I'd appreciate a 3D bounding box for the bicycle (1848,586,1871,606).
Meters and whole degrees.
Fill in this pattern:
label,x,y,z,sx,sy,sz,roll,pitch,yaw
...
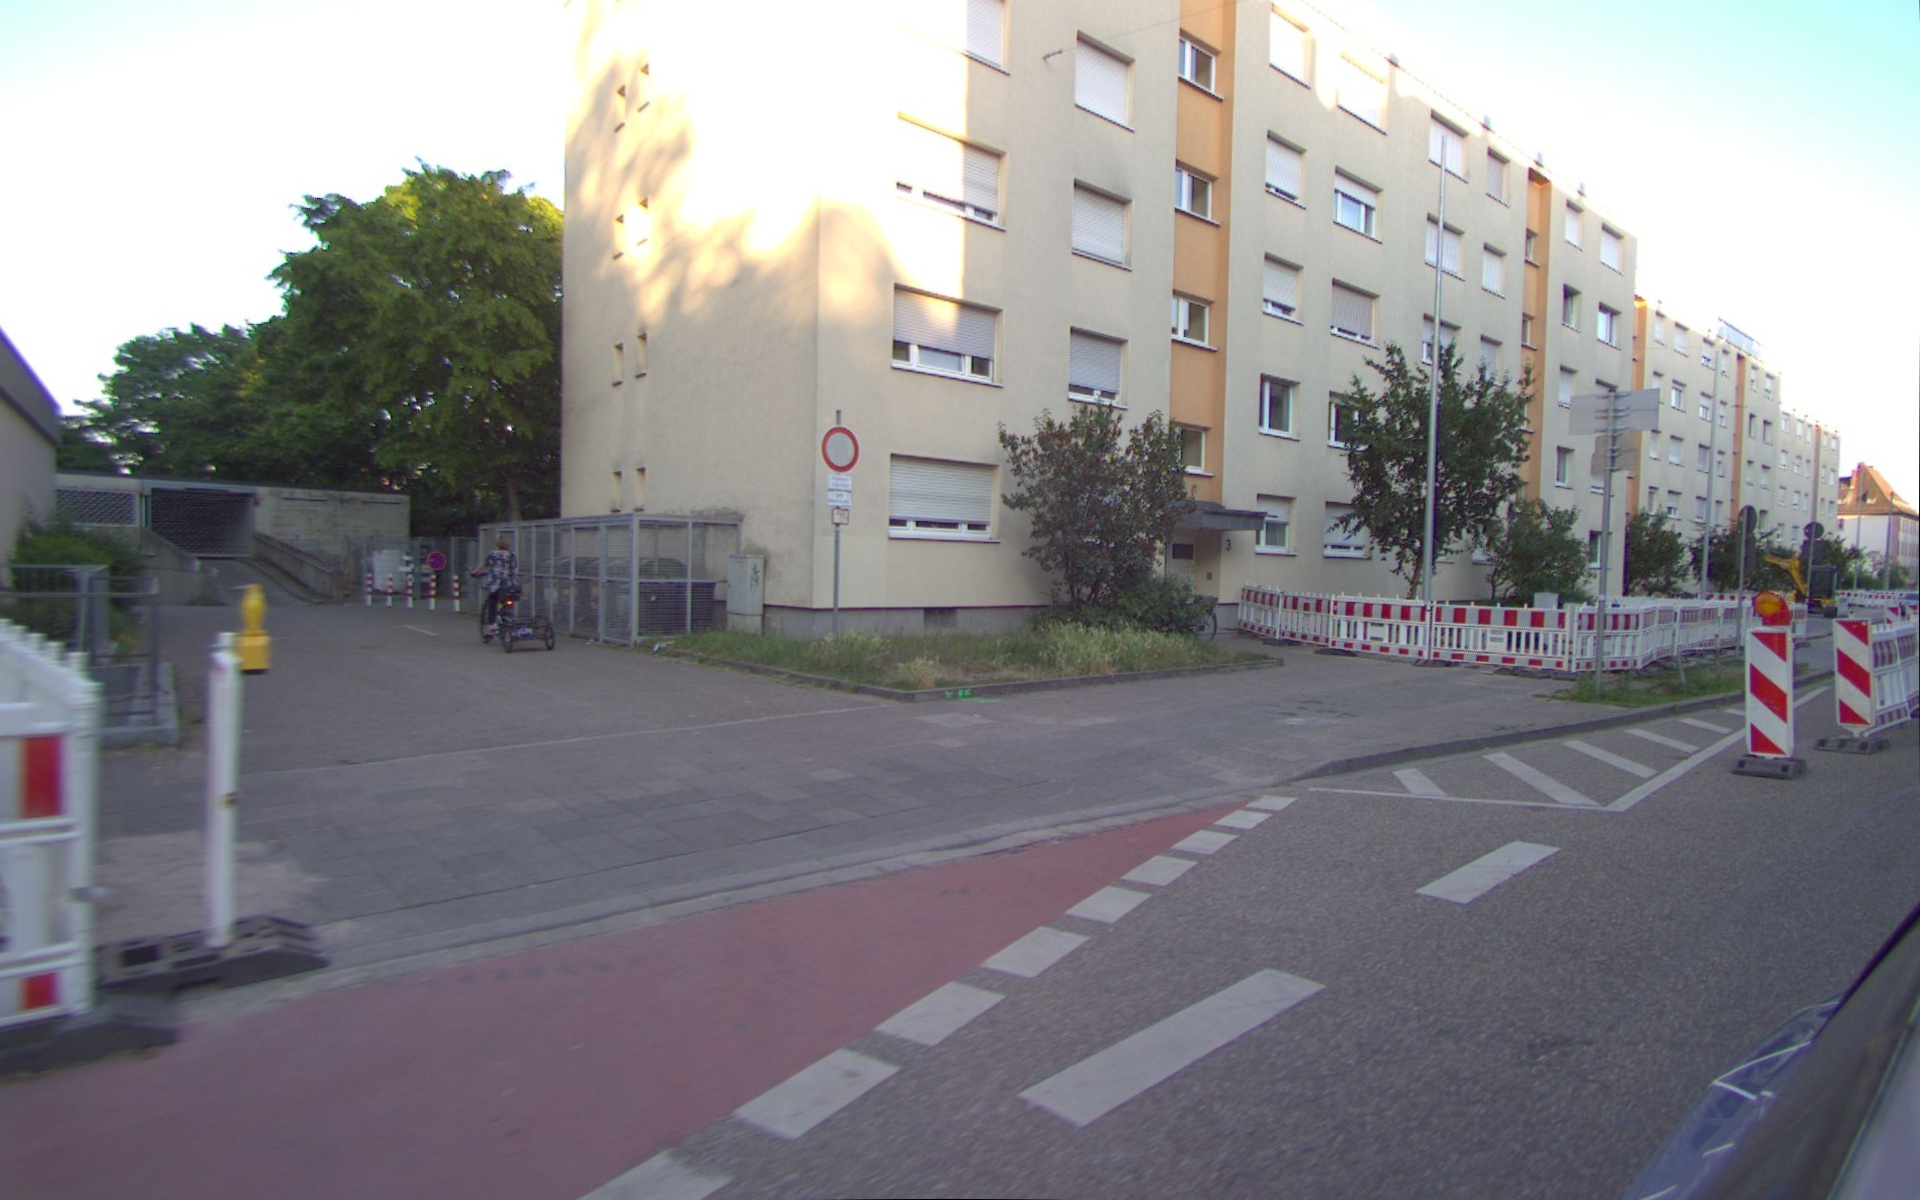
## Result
label,x,y,z,sx,sy,sz,roll,pitch,yaw
bicycle,54.181,-0.259,60.967,0.552,1.186,1.800,1,2,27

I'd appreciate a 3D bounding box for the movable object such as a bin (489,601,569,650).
label,x,y,z,sx,sy,sz,roll,pitch,yaw
movable object such as a bin,-6.762,0.385,15.869,0.925,0.697,0.992,-1,1,-39

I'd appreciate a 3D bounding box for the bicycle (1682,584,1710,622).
label,x,y,z,sx,sy,sz,roll,pitch,yaw
bicycle,24.548,0.092,33.751,0.452,1.237,1.880,2,2,44

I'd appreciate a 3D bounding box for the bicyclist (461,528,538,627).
label,x,y,z,sx,sy,sz,roll,pitch,yaw
bicyclist,-7.819,-0.384,17.171,0.925,1.601,1.145,-1,1,-39

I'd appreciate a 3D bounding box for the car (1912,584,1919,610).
label,x,y,z,sx,sy,sz,roll,pitch,yaw
car,59.463,-0.145,61.579,4.495,1.508,1.780,-1,6,-42

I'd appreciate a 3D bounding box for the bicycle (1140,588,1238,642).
label,x,y,z,sx,sy,sz,roll,pitch,yaw
bicycle,4.355,0.281,19.257,1.776,0.980,0.547,0,2,-20

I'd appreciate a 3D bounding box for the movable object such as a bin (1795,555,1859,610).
label,x,y,z,sx,sy,sz,roll,pitch,yaw
movable object such as a bin,44.042,-0.909,51.398,2.839,2.726,1.938,0,2,-39

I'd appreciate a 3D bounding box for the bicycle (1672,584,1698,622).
label,x,y,z,sx,sy,sz,roll,pitch,yaw
bicycle,24.298,0.090,33.892,0.398,1.237,1.880,2,2,44

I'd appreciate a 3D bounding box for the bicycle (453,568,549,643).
label,x,y,z,sx,sy,sz,roll,pitch,yaw
bicycle,-7.819,0.067,17.173,0.925,1.186,2.356,-1,1,-39
